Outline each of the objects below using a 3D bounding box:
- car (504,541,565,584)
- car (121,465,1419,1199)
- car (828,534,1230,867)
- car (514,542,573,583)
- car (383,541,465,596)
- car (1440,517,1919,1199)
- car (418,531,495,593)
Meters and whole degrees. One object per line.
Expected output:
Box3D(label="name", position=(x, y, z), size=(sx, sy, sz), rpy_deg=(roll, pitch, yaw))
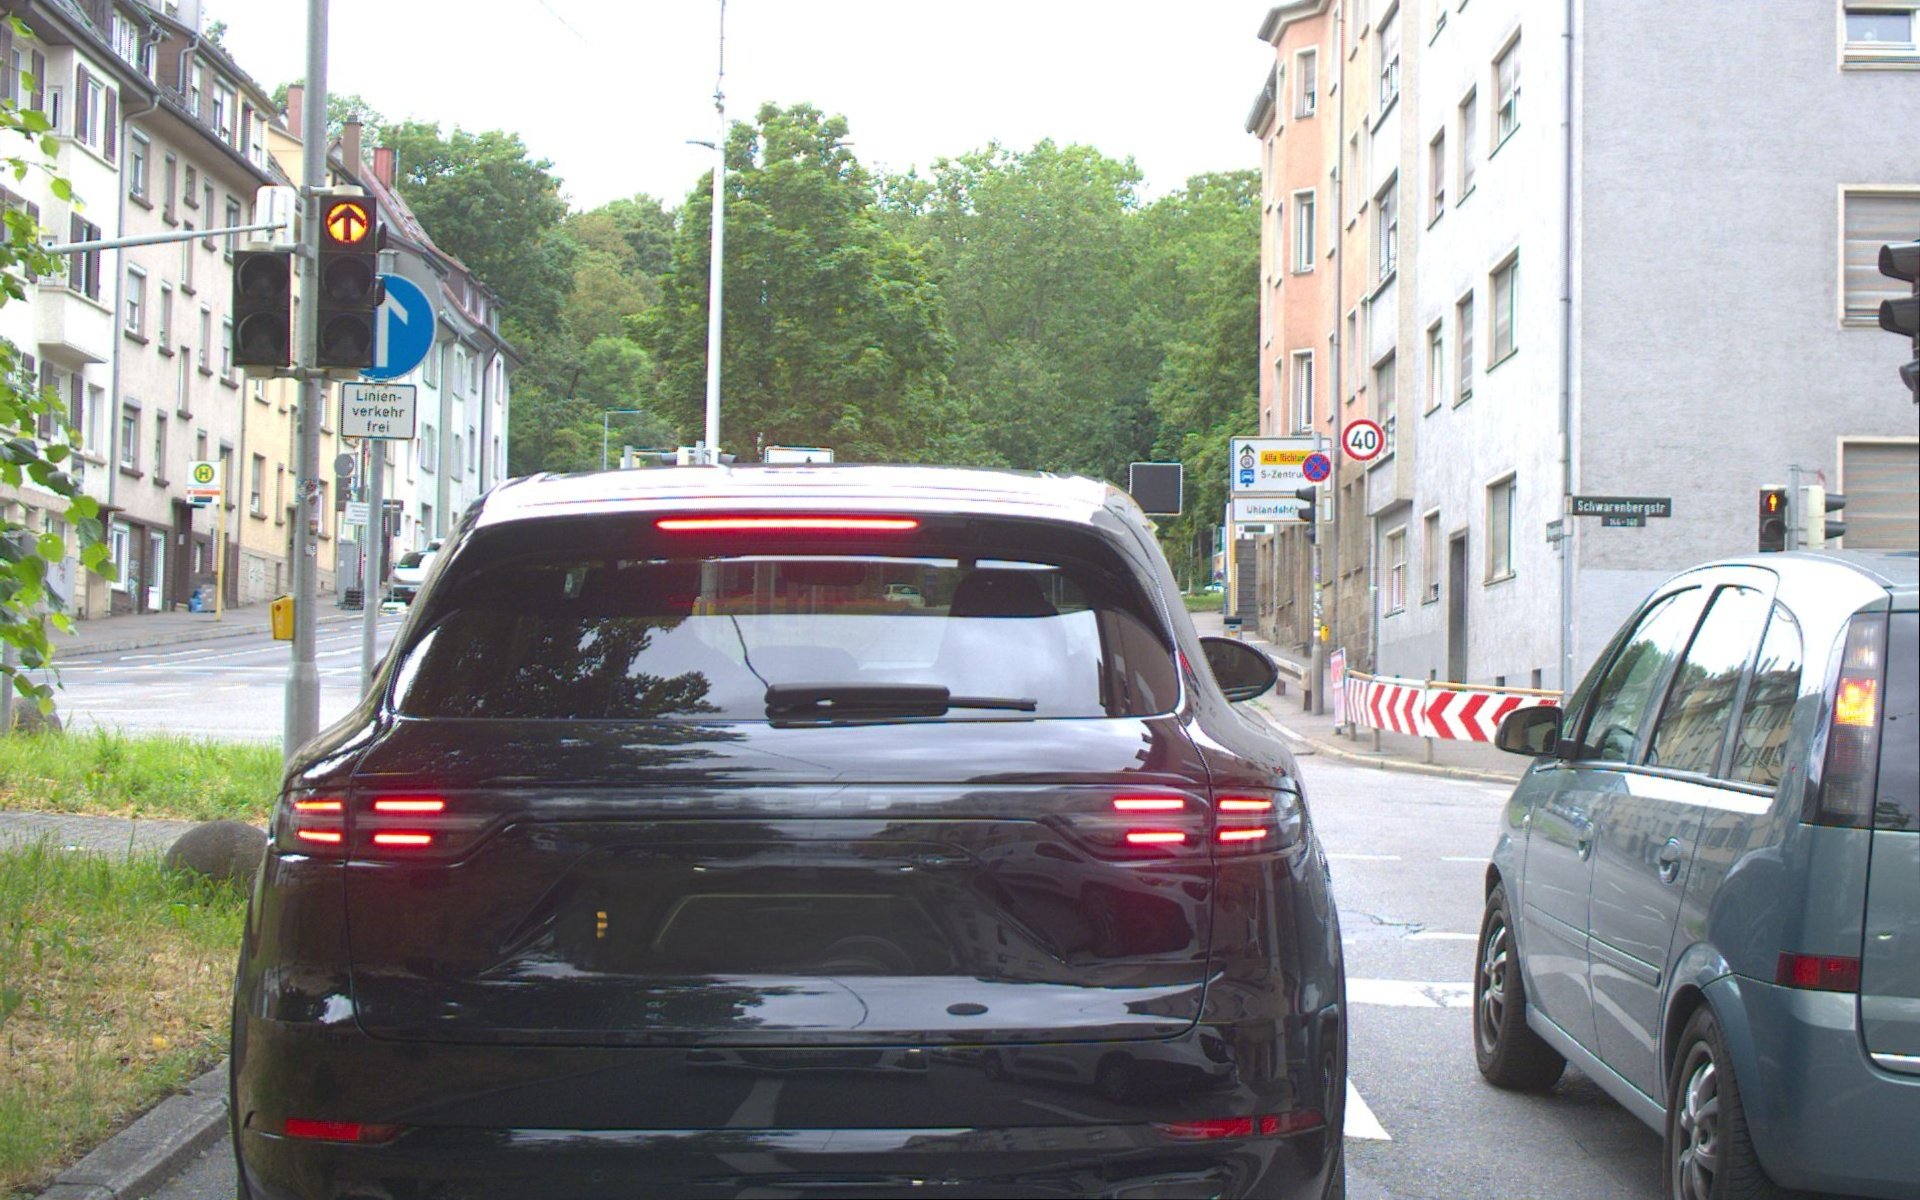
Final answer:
Box3D(label="car", position=(-15.513, -1.377, 125.509), size=(1.794, 1.505, 4.000), rpy_deg=(1, 1, -1))
Box3D(label="car", position=(-0.261, 0.575, 7.291), size=(1.994, 1.647, 4.000), rpy_deg=(0, 1, 1))
Box3D(label="car", position=(0.381, 0.491, 19.121), size=(1.994, 1.647, 4.000), rpy_deg=(0, 0, 1))
Box3D(label="car", position=(-15.780, -1.431, 130.407), size=(1.794, 1.505, 4.000), rpy_deg=(1, 1, -1))
Box3D(label="car", position=(-15.422, -0.914, 99.102), size=(1.794, 1.505, 4.000), rpy_deg=(1, 1, -1))
Box3D(label="car", position=(2.372, 0.678, 8.382), size=(1.752, 1.588, 3.630), rpy_deg=(4, 0, -1))
Box3D(label="car", position=(-15.228, -1.162, 104.124), size=(1.794, 1.804, 4.000), rpy_deg=(1, 1, -1))
